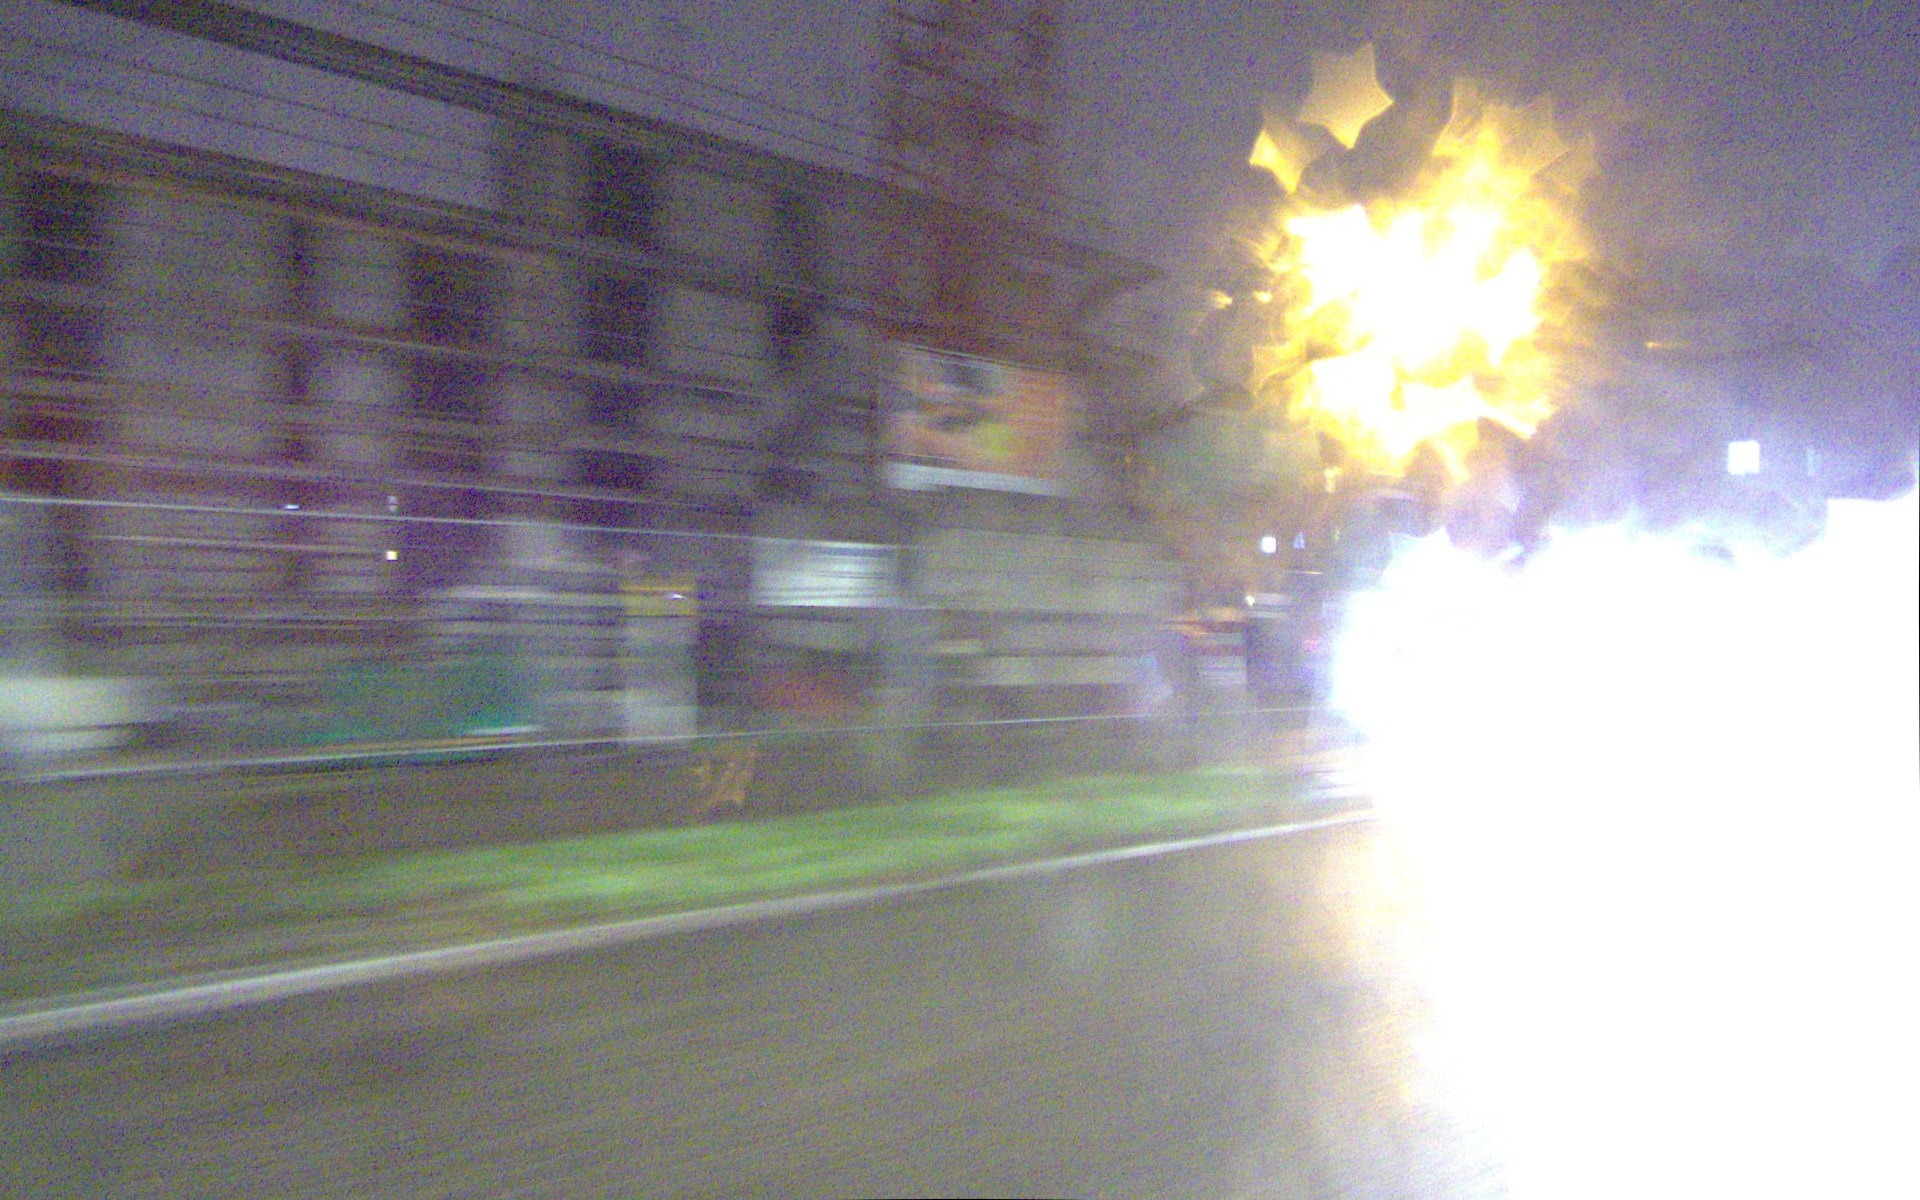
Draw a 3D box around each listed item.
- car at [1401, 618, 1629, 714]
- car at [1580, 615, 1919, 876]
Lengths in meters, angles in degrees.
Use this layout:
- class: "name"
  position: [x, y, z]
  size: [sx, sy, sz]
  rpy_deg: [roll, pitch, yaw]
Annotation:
- class: "car"
  position: [12.011, 1.353, 22.204]
  size: [1.963, 1.641, 4.698]
  rpy_deg: [2, 1, -7]
- class: "car"
  position: [6.548, 0.889, 7.434]
  size: [3.954, 1.452, 1.736]
  rpy_deg: [2, -1, -31]
